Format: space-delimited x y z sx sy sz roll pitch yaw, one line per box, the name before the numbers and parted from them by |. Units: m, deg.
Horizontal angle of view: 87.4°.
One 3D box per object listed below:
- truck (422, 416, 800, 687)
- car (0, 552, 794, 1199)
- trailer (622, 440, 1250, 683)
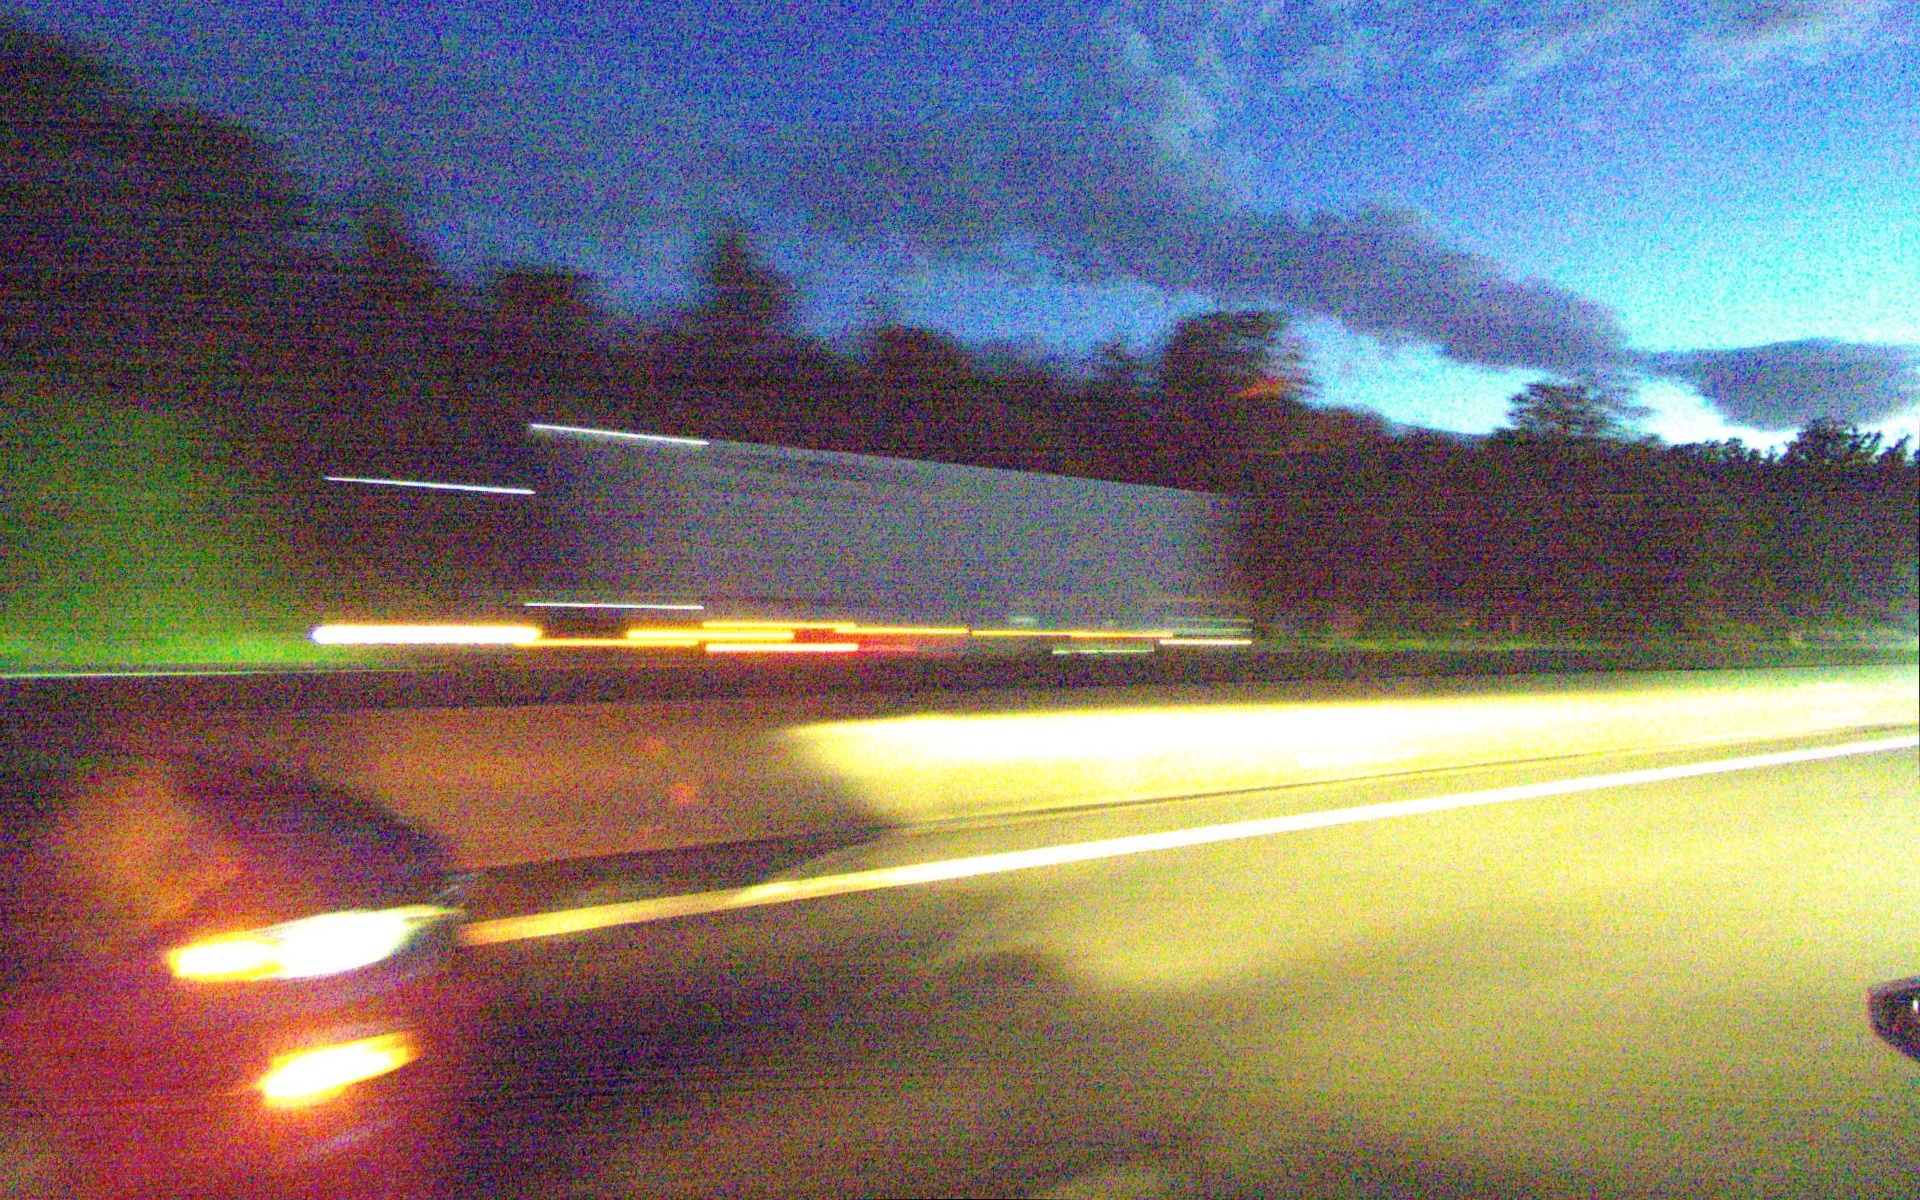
truck | -6.082 -0.654 17.635 5.792 4.033 2.840 1 0 -31
car | -3.307 0.664 1.919 5.580 1.539 1.985 1 0 -28
trailer | 0.199 -0.479 21.395 13.725 4.033 2.840 2 0 -31
